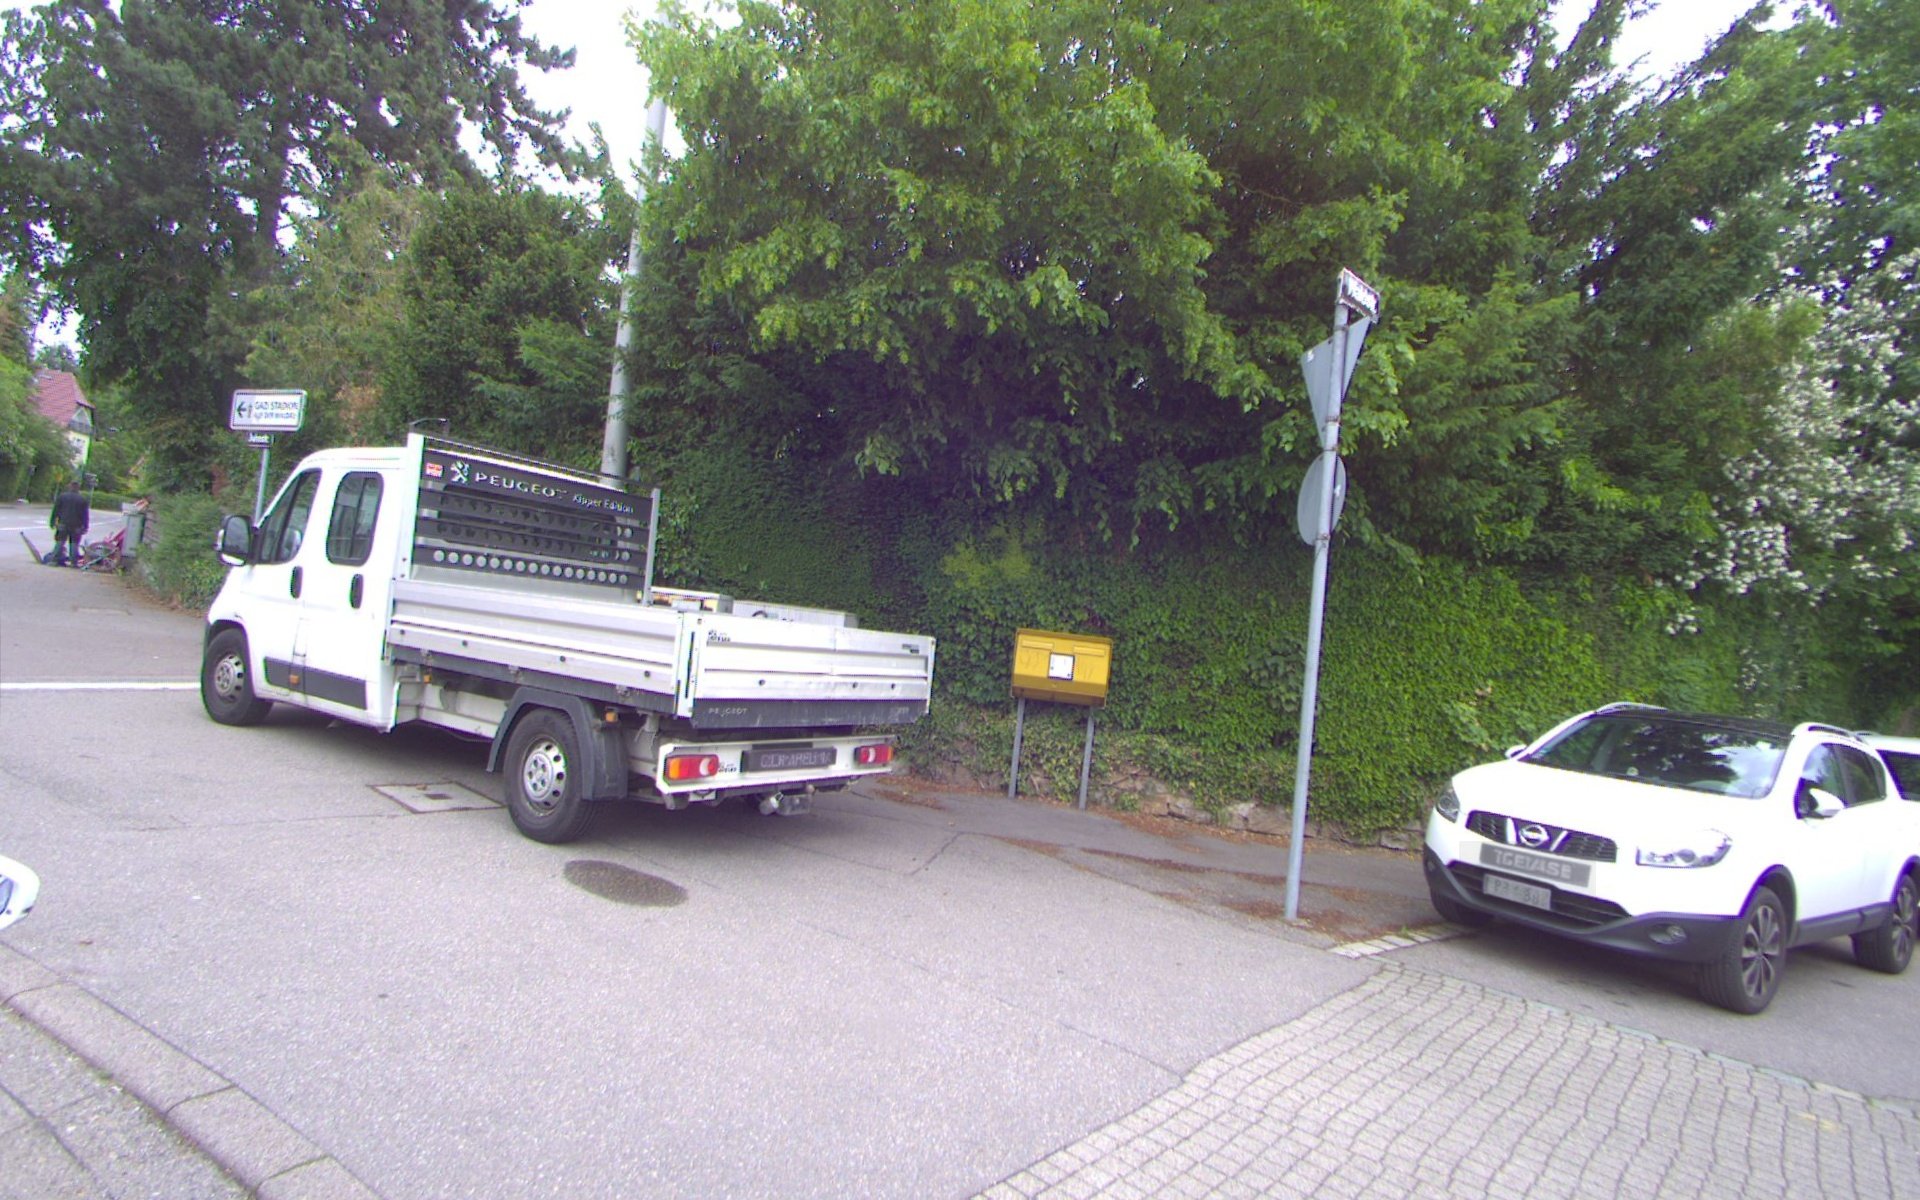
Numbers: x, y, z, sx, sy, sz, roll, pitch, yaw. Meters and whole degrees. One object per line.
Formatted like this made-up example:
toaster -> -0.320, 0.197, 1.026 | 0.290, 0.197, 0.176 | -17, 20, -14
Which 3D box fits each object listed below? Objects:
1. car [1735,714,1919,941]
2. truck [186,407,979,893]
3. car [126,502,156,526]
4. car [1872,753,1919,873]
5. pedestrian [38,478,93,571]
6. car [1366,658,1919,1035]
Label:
car -> 9.046, 2.115, 9.462 | 4.041, 1.641, 1.781 | 9, -3, -38
truck -> -2.933, 0.084, 7.155 | 5.631, 2.270, 2.211 | 6, -2, 34
car -> -73.853, -7.738, 90.763 | 1.798, 1.775, 4.441 | 7, 0, -37
car -> 13.905, 2.954, 13.494 | 4.040, 1.440, 1.781 | 8, -2, -38
pedestrian -> -19.640, -1.649, 22.086 | 0.549, 1.929, 0.597 | 7, -1, 32
car -> 4.767, 1.469, 6.650 | 4.098, 1.641, 1.783 | 9, -2, -34
